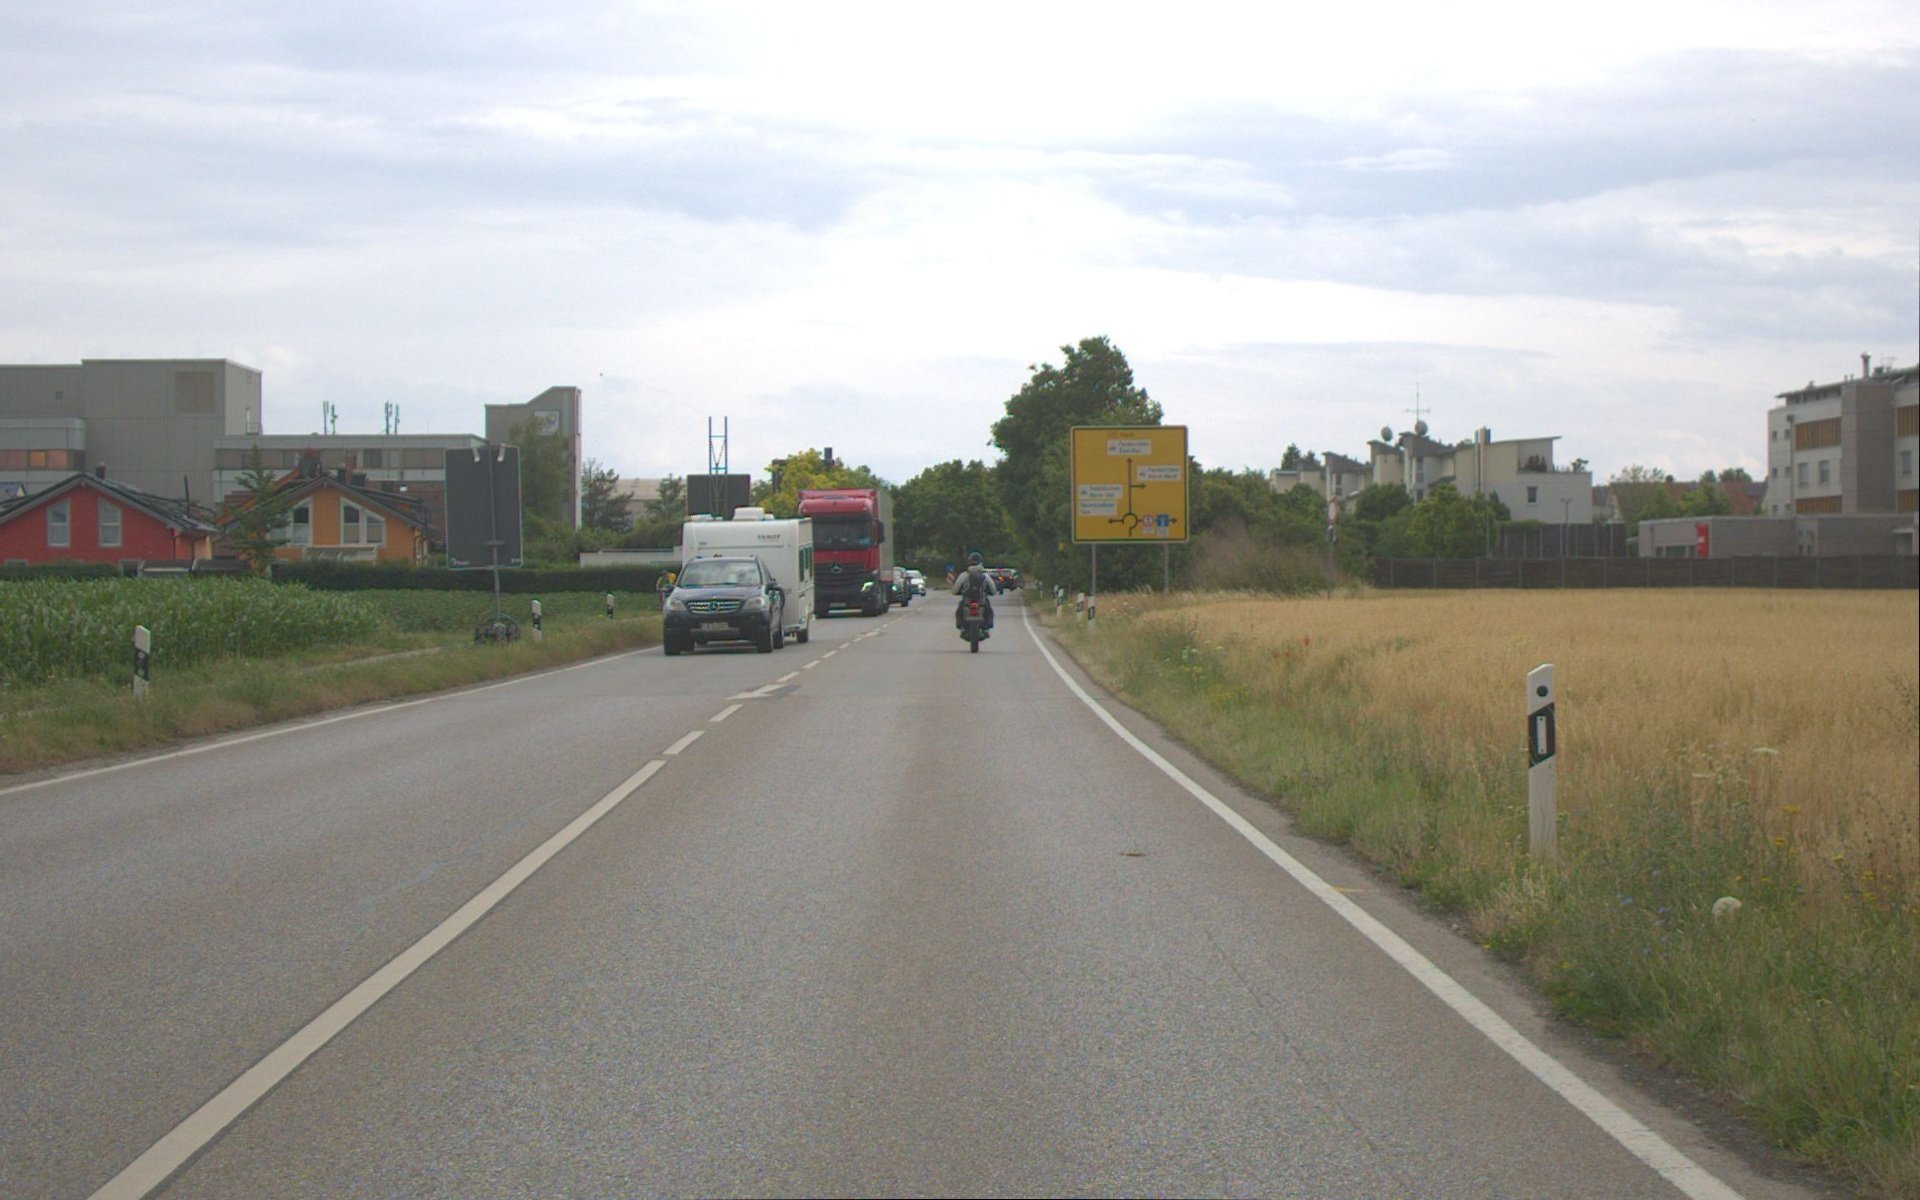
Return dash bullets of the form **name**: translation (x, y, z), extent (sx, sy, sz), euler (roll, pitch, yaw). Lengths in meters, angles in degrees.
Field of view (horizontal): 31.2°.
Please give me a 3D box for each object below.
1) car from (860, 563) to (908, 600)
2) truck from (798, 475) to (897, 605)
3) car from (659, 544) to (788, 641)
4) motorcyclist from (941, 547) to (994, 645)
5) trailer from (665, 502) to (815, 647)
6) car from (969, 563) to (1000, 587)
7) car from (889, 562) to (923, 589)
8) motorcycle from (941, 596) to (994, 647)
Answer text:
- **car**: translation (-3.027, -0.749, 137.450), extent (1.855, 1.467, 4.000), euler (0, 0, -1)
- **truck**: translation (-3.521, -1.870, 109.114), extent (2.729, 3.974, 6.816), euler (-1, 0, 1)
- **car**: translation (-4.256, -0.154, 62.565), extent (1.993, 1.693, 4.675), euler (0, 0, 0)
- **motorcyclist**: translation (0.142, -0.072, 61.527), extent (0.941, 1.744, 1.200), euler (0, 0, 1)
- **trailer**: translation (-4.302, -0.508, 68.530), extent (2.324, 2.720, 7.843), euler (0, 0, 1)
- **car**: translation (1.516, -1.552, 210.973), extent (1.855, 1.467, 4.000), euler (0, 0, 1)
- **car**: translation (-2.996, -1.341, 190.053), extent (1.855, 1.467, 4.000), euler (0, 0, -1)
- **motorcycle**: translation (0.140, 0.372, 61.475), extent (0.941, 0.887, 2.146), euler (0, 0, 1)
